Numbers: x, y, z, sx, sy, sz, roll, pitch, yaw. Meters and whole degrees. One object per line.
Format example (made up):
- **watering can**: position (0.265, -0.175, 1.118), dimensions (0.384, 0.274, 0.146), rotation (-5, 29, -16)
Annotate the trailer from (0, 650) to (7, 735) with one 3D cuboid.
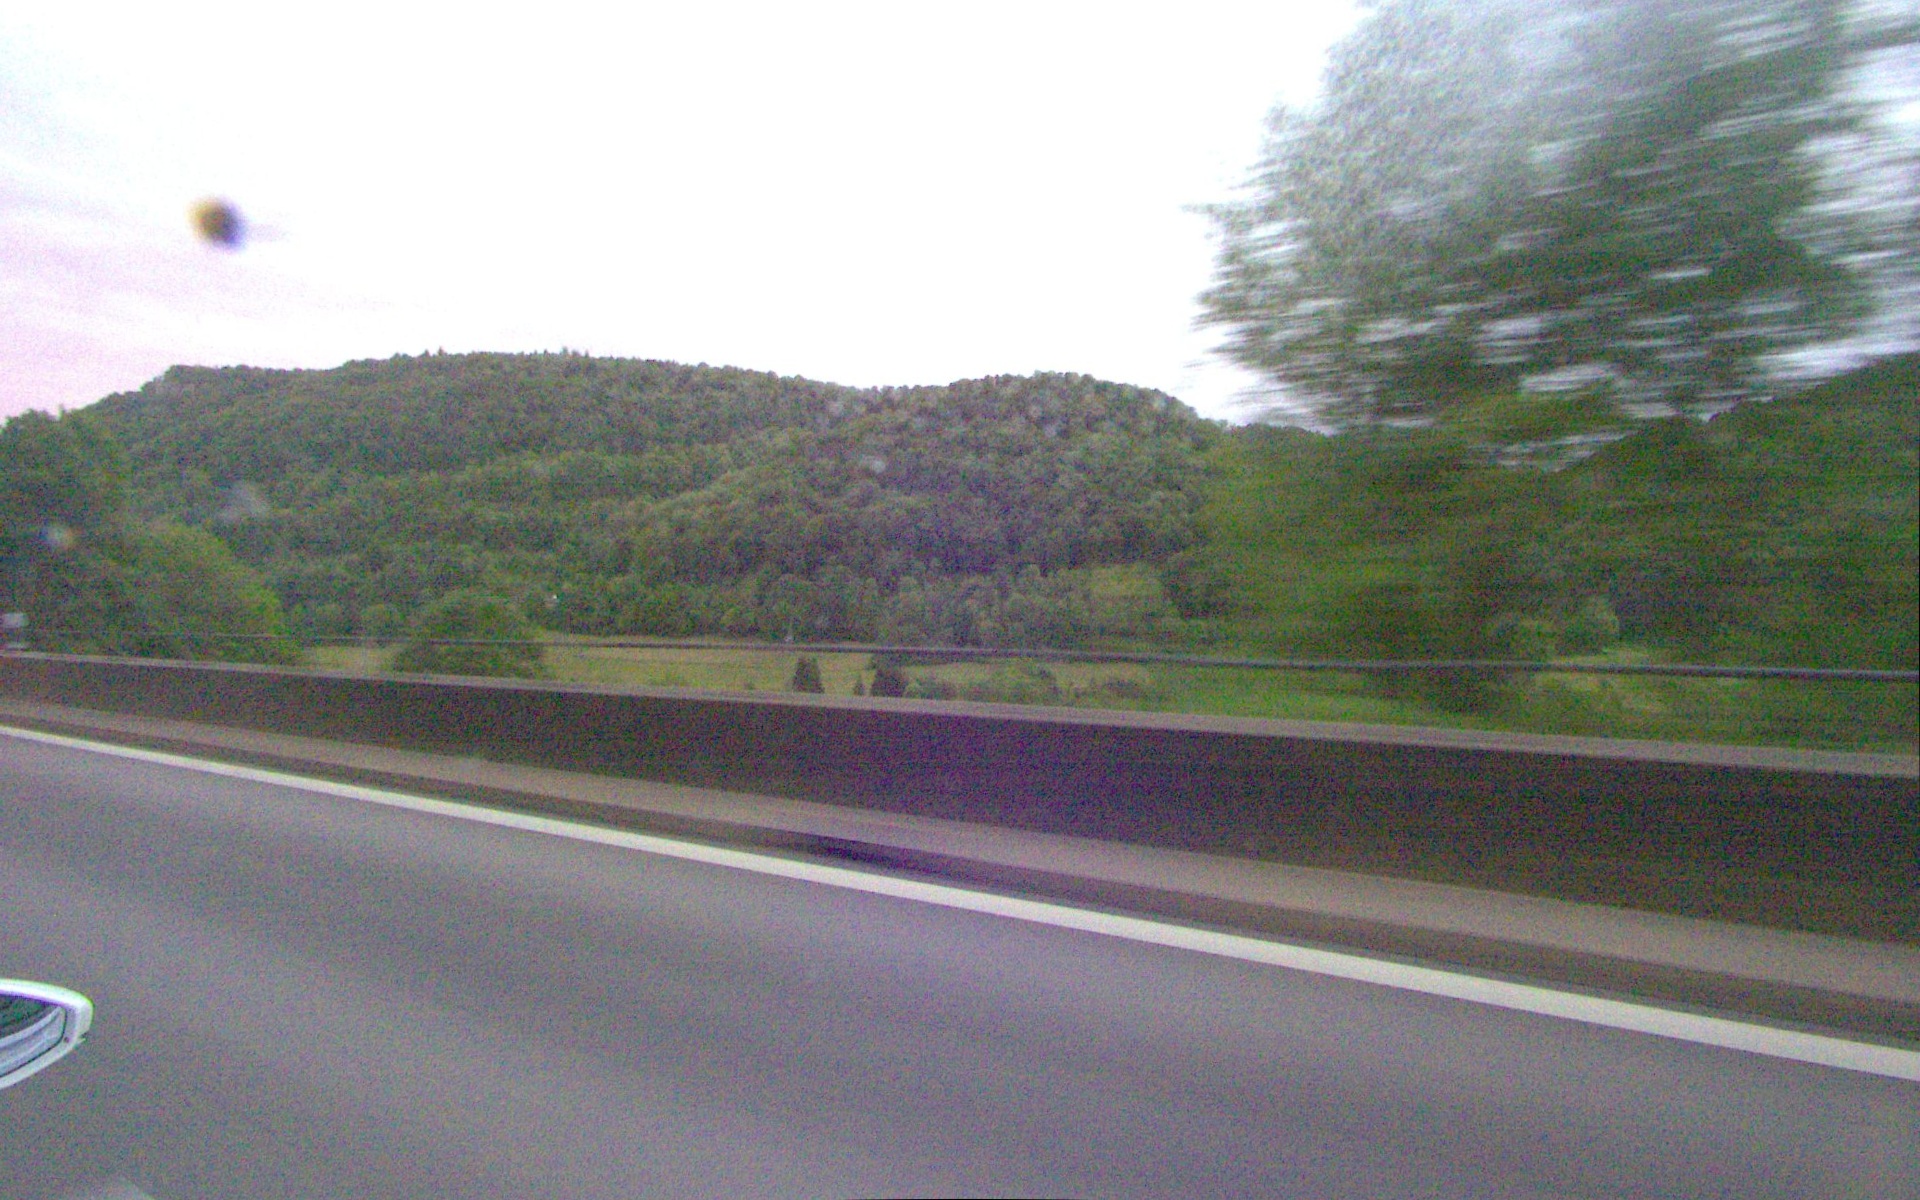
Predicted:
- **trailer**: position (-14.504, 0.486, 12.657), dimensions (5.852, 2.408, 2.049), rotation (-1, 3, 32)
